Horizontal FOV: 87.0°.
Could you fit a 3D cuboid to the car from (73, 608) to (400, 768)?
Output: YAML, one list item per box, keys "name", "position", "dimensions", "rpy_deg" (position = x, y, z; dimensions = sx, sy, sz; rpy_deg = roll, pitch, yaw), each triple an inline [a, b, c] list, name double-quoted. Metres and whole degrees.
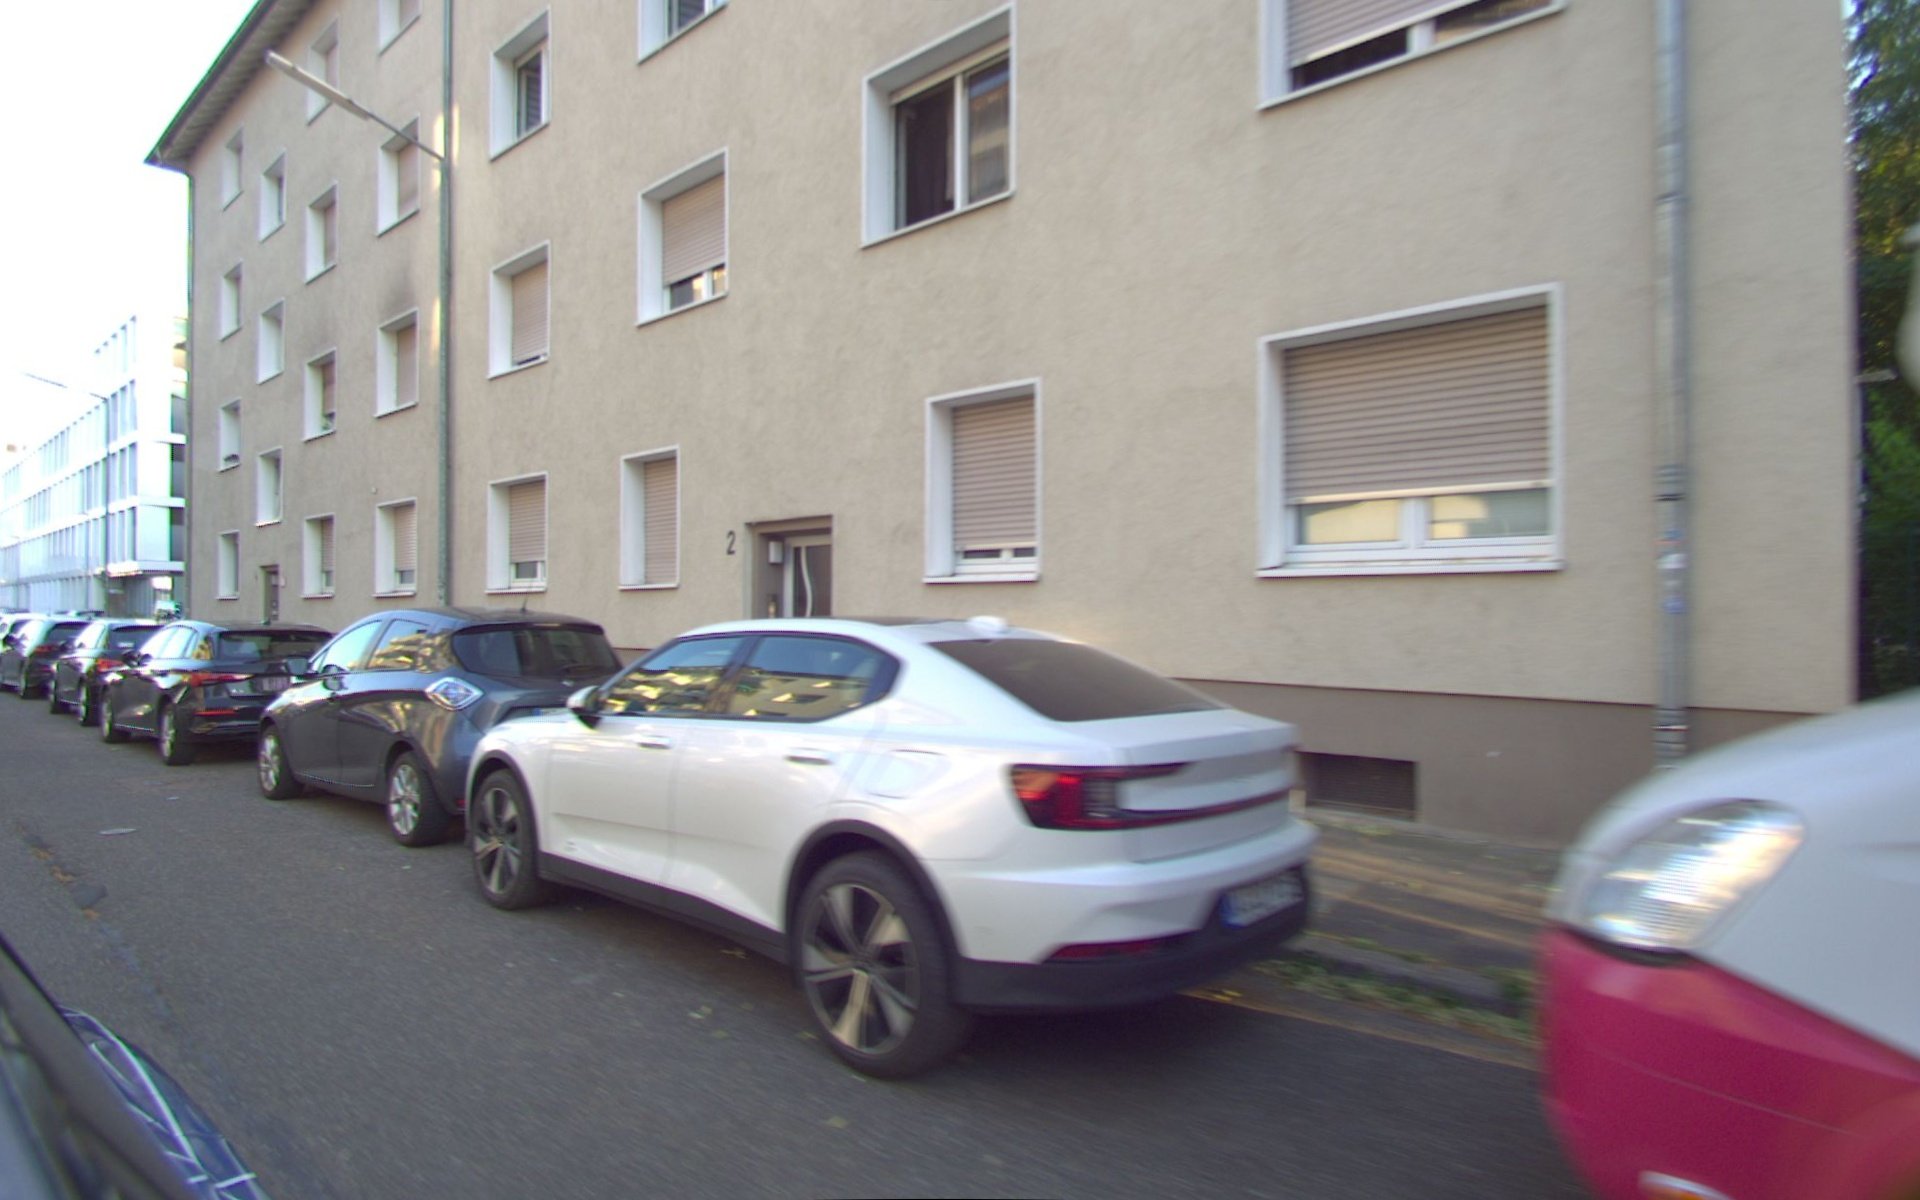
- name: "car"
  position: [-8.325, 0.848, 11.496]
  dimensions: [4.427, 1.455, 1.974]
  rpy_deg: [-1, -1, 40]

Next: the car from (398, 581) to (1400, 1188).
- name: "car"
  position: [-0.735, 0.778, 4.863]
  dimensions: [4.908, 1.488, 1.886]
  rpy_deg: [-1, -4, 42]

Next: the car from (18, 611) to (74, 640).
- name: "car"
  position: [-49.475, 1.349, 54.777]
  dimensions: [4.001, 1.497, 1.971]
  rpy_deg: [-1, -1, 44]

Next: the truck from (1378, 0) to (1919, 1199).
- name: "truck"
  position: [4.573, -0.269, 0.112]
  dimensions: [8.015, 3.379, 2.498]
  rpy_deg: [-1, -4, 42]

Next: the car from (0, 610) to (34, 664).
- name: "car"
  position: [-28.755, 1.058, 29.539]
  dimensions: [4.427, 1.501, 1.974]
  rpy_deg: [-1, -1, 40]

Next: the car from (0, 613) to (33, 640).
- name: "car"
  position: [-57.081, 1.570, 60.684]
  dimensions: [4.001, 1.530, 1.971]
  rpy_deg: [-1, -1, 44]

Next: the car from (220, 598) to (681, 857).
- name: "car"
  position: [-4.179, 0.818, 8.043]
  dimensions: [4.064, 1.545, 1.772]
  rpy_deg: [-1, -3, 40]

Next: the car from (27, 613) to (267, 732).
- name: "car"
  position: [-11.978, 0.943, 14.808]
  dimensions: [4.429, 1.455, 1.973]
  rpy_deg: [-1, -1, 41]

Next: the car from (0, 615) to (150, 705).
- name: "car"
  position: [-16.657, 1.018, 18.713]
  dimensions: [4.427, 1.455, 1.770]
  rpy_deg: [-1, -1, 40]

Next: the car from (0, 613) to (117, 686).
- name: "car"
  position: [-20.701, 1.051, 22.711]
  dimensions: [4.427, 1.455, 1.974]
  rpy_deg: [-1, -1, 40]

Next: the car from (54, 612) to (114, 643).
- name: "car"
  position: [-44.516, 1.357, 51.406]
  dimensions: [4.001, 1.497, 1.971]
  rpy_deg: [-1, -1, 44]
